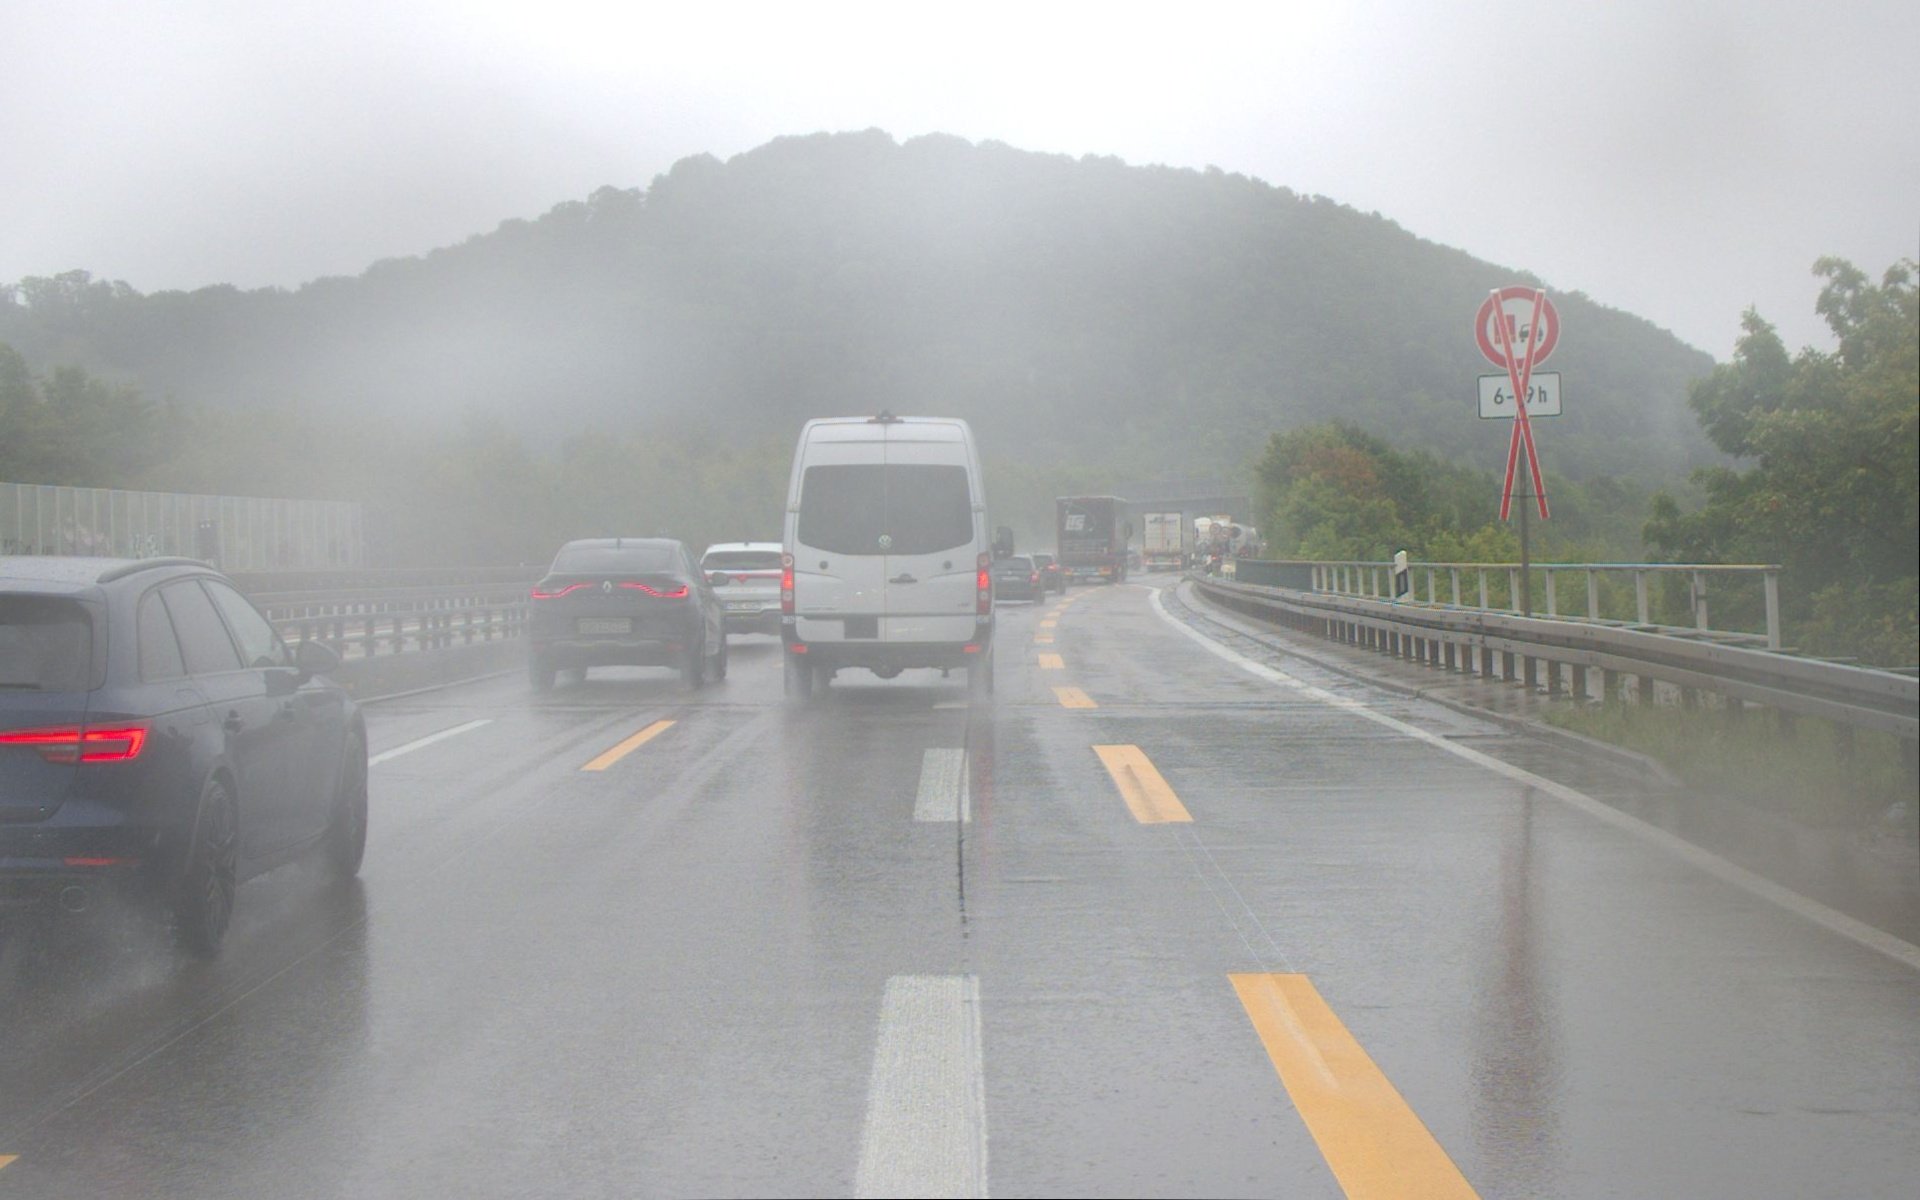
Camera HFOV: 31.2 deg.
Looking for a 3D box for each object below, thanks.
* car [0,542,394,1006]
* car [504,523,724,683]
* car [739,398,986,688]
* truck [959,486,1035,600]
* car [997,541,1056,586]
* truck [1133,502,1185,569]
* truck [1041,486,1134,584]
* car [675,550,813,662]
[{"bbox_3d":[-3.570,0.535,13.402,1.993,1.492,4.631,1,0,-1],"label":"car"},{"bbox_3d":[-3.620,0.010,36.680,1.993,1.579,4.414,1,0,-1],"label":"car"},{"bbox_3d":[-0.851,-0.532,33.427,2.145,2.562,5.389,1,0,1],"label":"car"},{"bbox_3d":[1.098,-1.595,98.436,1.993,3.098,8.498,1,0,2],"label":"truck"},{"bbox_3d":[2.277,-1.242,117.376,1.774,1.470,3.999,1,0,4],"label":"car"},{"bbox_3d":[13.506,-4.351,232.954,3.037,4.391,9.622,1,0,6],"label":"truck"},{"bbox_3d":[5.965,-2.963,159.547,3.582,4.391,9.621,1,0,6],"label":"truck"},{"bbox_3d":[-3.288,0.066,52.654,1.993,1.612,4.797,1,0,-3],"label":"car"}]
